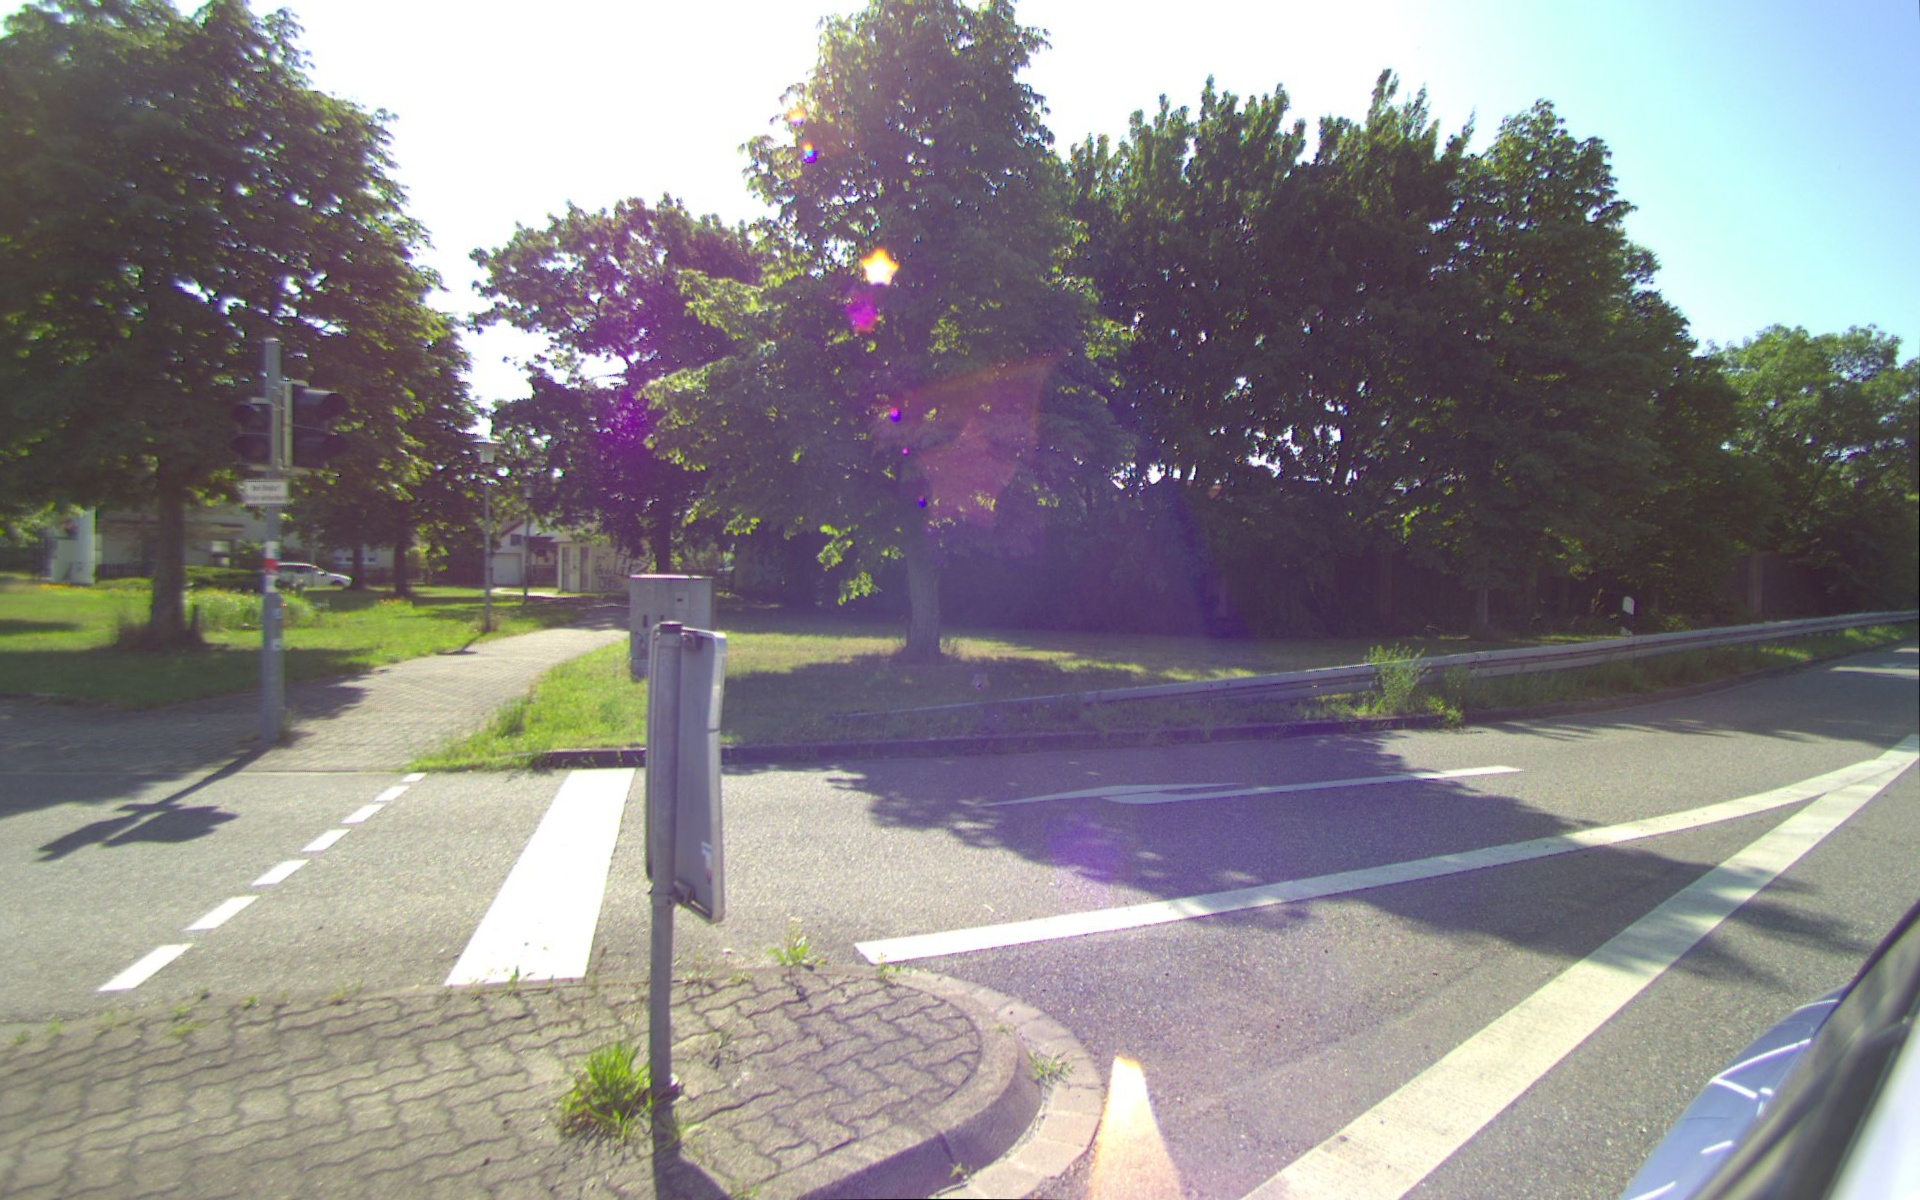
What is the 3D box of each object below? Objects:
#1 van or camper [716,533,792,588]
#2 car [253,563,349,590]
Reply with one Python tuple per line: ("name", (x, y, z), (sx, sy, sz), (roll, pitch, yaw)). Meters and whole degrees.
("van or camper", (-11.394, -2.170, 55.808), (1.966, 2.866, 4.807), (-1, 2, -42))
("car", (-33.334, -1.179, 51.258), (3.928, 1.304, 1.731), (-1, 2, -39))
